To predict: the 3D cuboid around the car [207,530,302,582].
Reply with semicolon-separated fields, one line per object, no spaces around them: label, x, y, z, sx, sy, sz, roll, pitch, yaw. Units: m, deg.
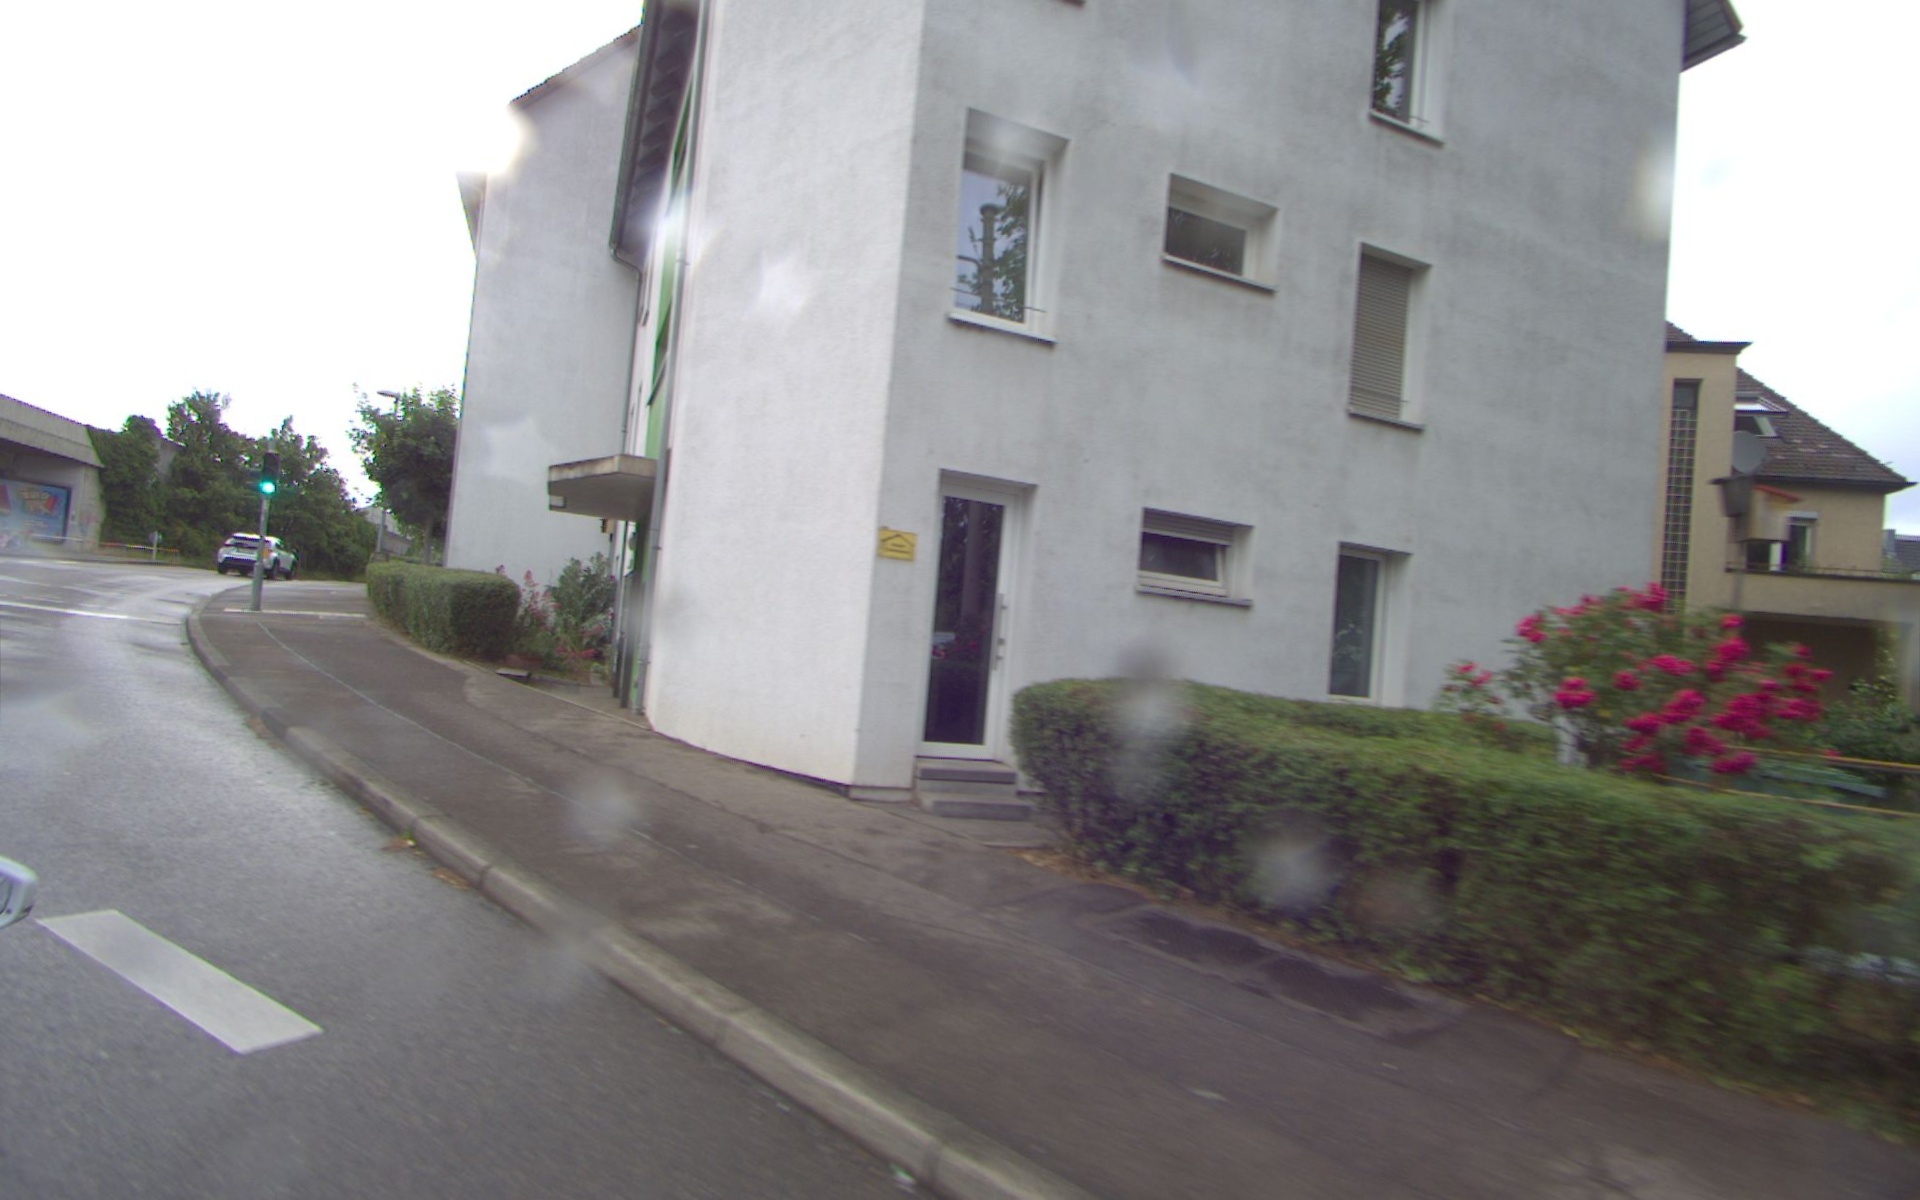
car;-26.321;-1.586;37.678;1.856;1.547;3.983;8;-2;-21
